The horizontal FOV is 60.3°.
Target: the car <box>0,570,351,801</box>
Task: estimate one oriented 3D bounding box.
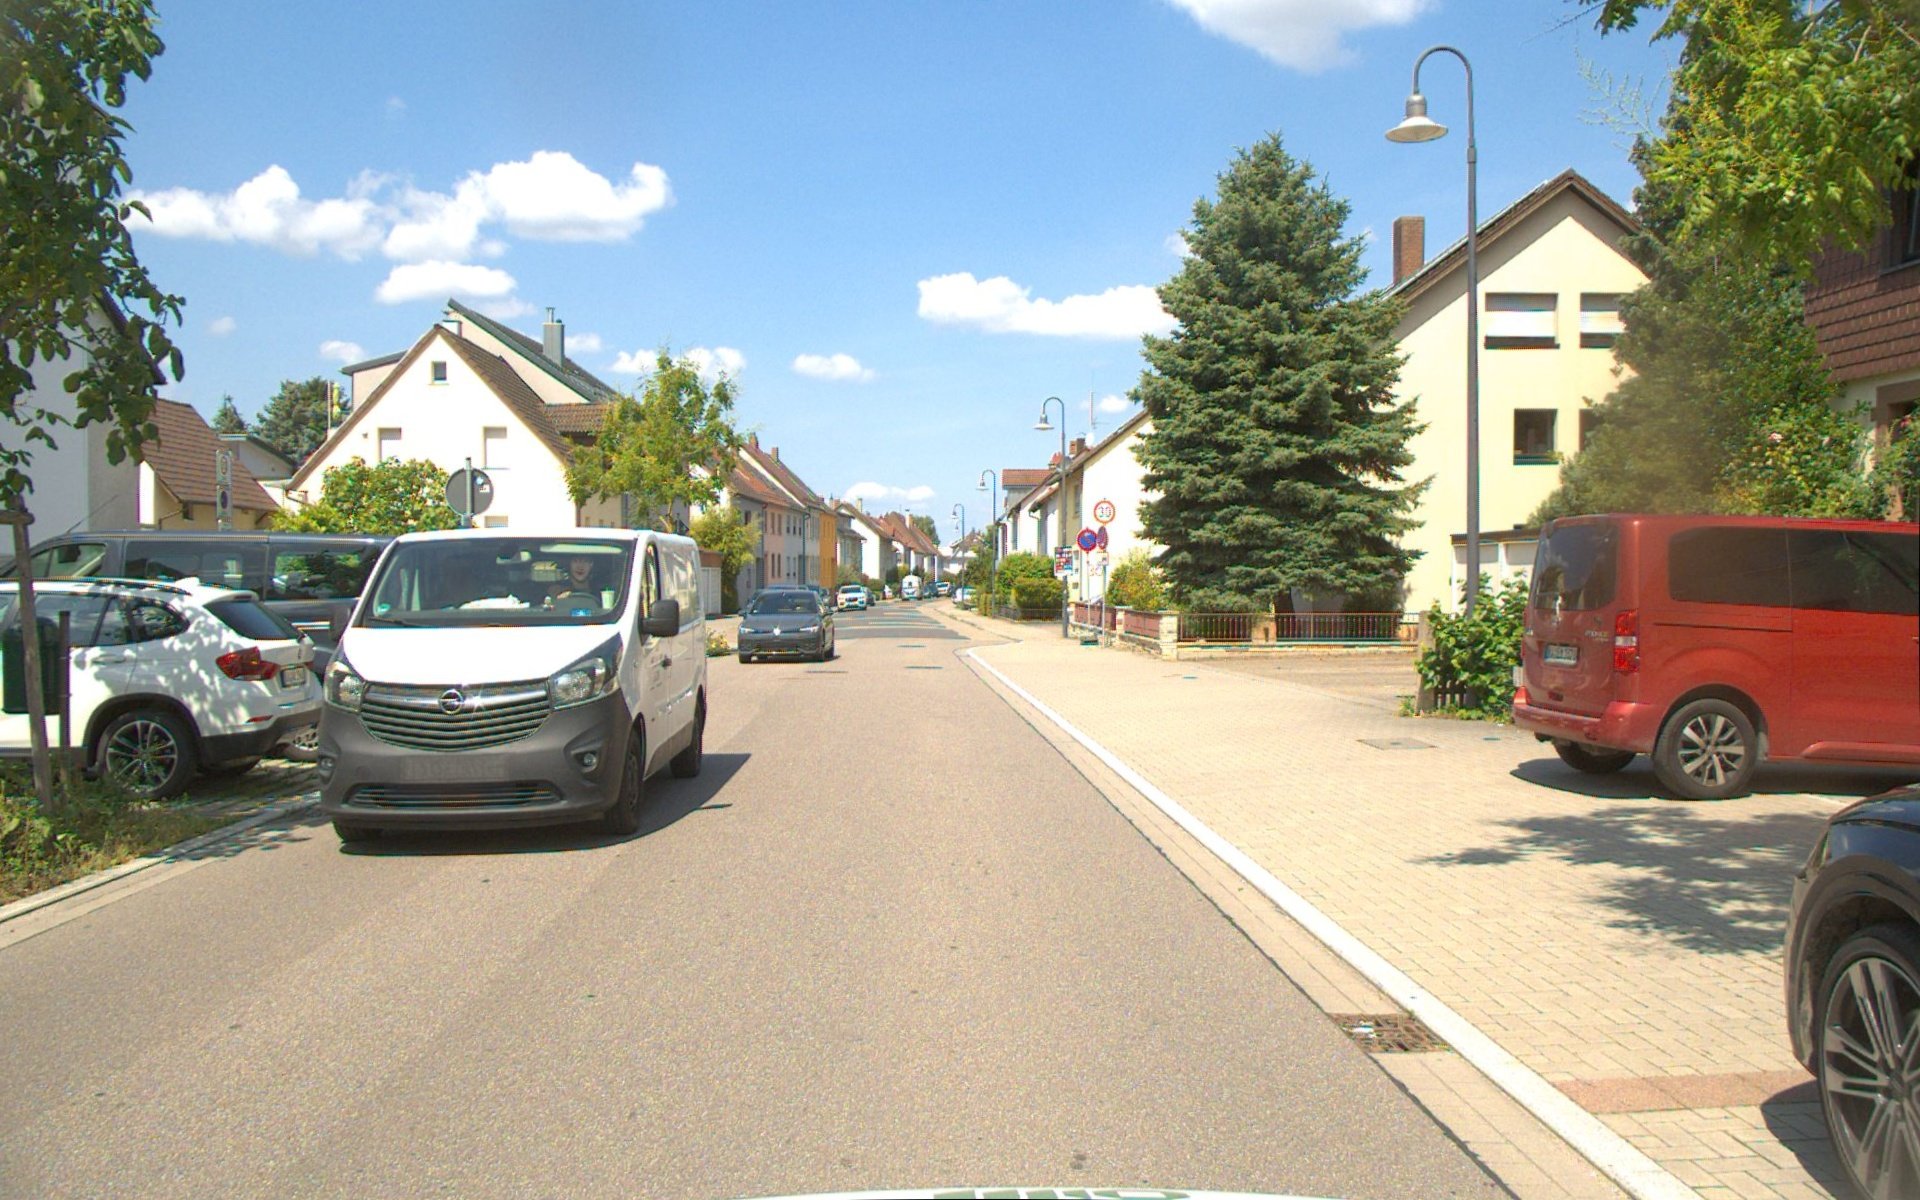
[{"bbox_3d":[-6.962,0.589,12.439,4.102,1.596,1.771,1,-1,-6],"label":"car"}]

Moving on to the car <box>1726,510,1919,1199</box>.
[{"bbox_3d":[3.036,0.618,2.311,1.826,1.664,4.446,-2,1,0],"label":"car"}]

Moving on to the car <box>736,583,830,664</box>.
[{"bbox_3d":[-3.698,0.456,35.072,1.727,1.549,4.046,-2,0,-3],"label":"car"}]

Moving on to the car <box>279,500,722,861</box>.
[{"bbox_3d":[-2.898,0.453,11.641,1.982,1.984,4.895,0,0,-3],"label":"car"}]

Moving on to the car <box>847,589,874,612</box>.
[{"bbox_3d":[-7.817,0.019,130.245,1.812,1.688,4.000,2,0,1],"label":"car"}]

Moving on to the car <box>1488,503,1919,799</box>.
[{"bbox_3d":[6.442,0.374,12.044,4.527,1.927,2.019,1,-1,-4],"label":"car"}]

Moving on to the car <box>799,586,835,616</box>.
[{"bbox_3d":[-8.289,0.068,96.042,1.774,1.637,3.999,2,0,-2],"label":"car"}]

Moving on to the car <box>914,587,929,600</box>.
[{"bbox_3d":[-4.668,-0.785,201.296,1.656,1.530,3.772,1,0,2],"label":"car"}]

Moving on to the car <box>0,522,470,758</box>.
[{"bbox_3d":[-7.108,0.341,15.194,4.606,1.957,1.937,1,-1,-3],"label":"car"}]

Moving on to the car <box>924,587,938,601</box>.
[{"bbox_3d":[-3.642,-0.718,208.813,1.656,1.689,3.772,1,0,2],"label":"car"}]

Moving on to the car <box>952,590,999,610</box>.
[{"bbox_3d":[1.147,0.007,125.431,3.452,1.490,1.628,1,-1,-2],"label":"car"}]

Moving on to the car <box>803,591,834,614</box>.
[{"bbox_3d":[-9.216,0.155,108.182,1.638,1.359,3.722,2,0,1],"label":"car"}]

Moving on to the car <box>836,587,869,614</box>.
[{"bbox_3d":[-7.092,0.044,109.249,1.812,1.688,4.000,2,0,1],"label":"car"}]

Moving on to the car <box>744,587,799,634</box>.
[{"bbox_3d":[-6.851,0.353,60.321,1.781,1.458,4.136,4,1,-5],"label":"car"}]

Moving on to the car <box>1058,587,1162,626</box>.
[{"bbox_3d":[5.922,0.249,65.428,3.906,1.498,1.746,-1,0,-2],"label":"car"}]

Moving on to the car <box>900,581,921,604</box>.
[{"bbox_3d":[-5.360,-0.807,179.355,2.003,2.352,3.772,1,0,2],"label":"car"}]
